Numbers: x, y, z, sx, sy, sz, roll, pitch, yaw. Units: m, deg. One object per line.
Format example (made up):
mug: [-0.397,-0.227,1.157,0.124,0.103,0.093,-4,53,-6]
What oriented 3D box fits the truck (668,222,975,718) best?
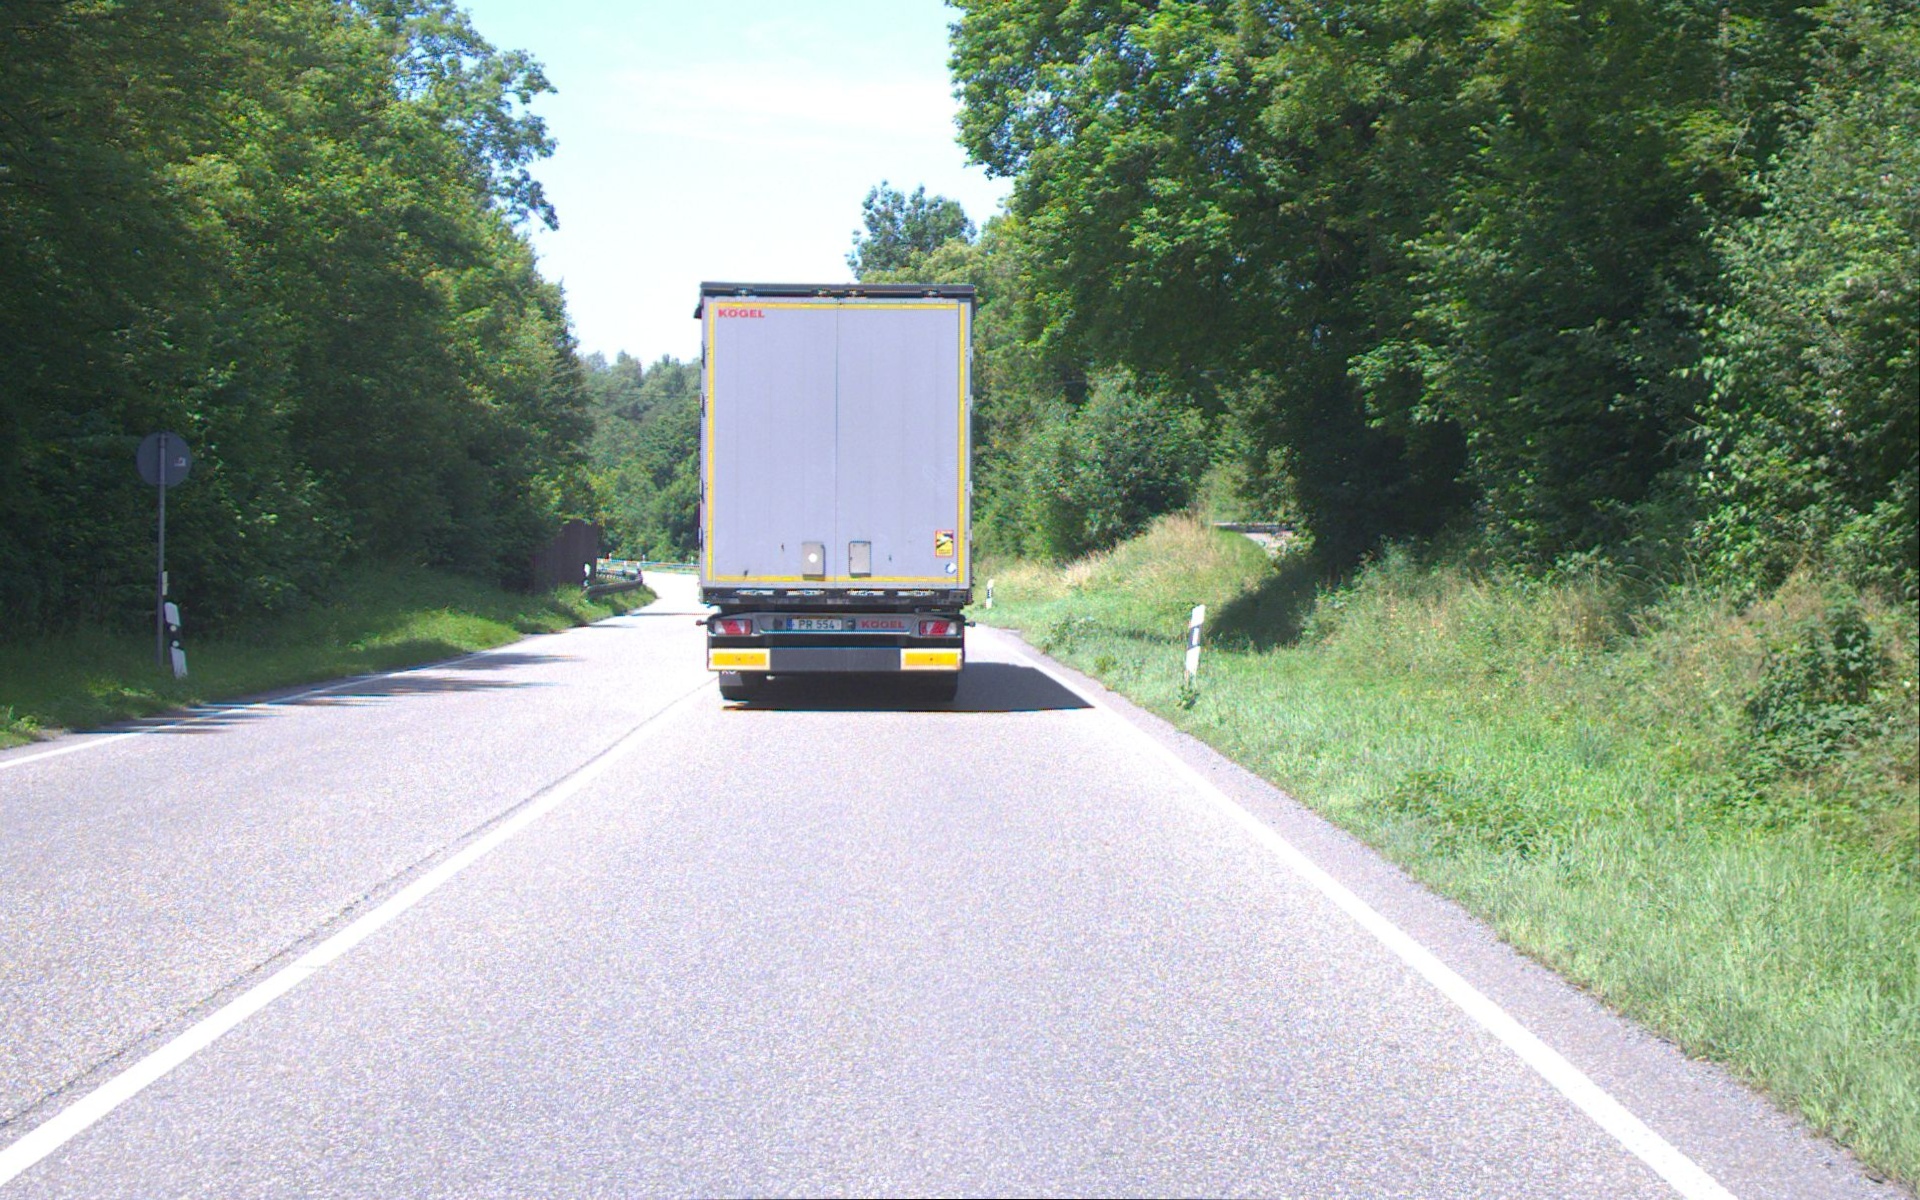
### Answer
truck: [-1.272,-1.277,35.273,2.822,4.588,6.665,0,1,0]
